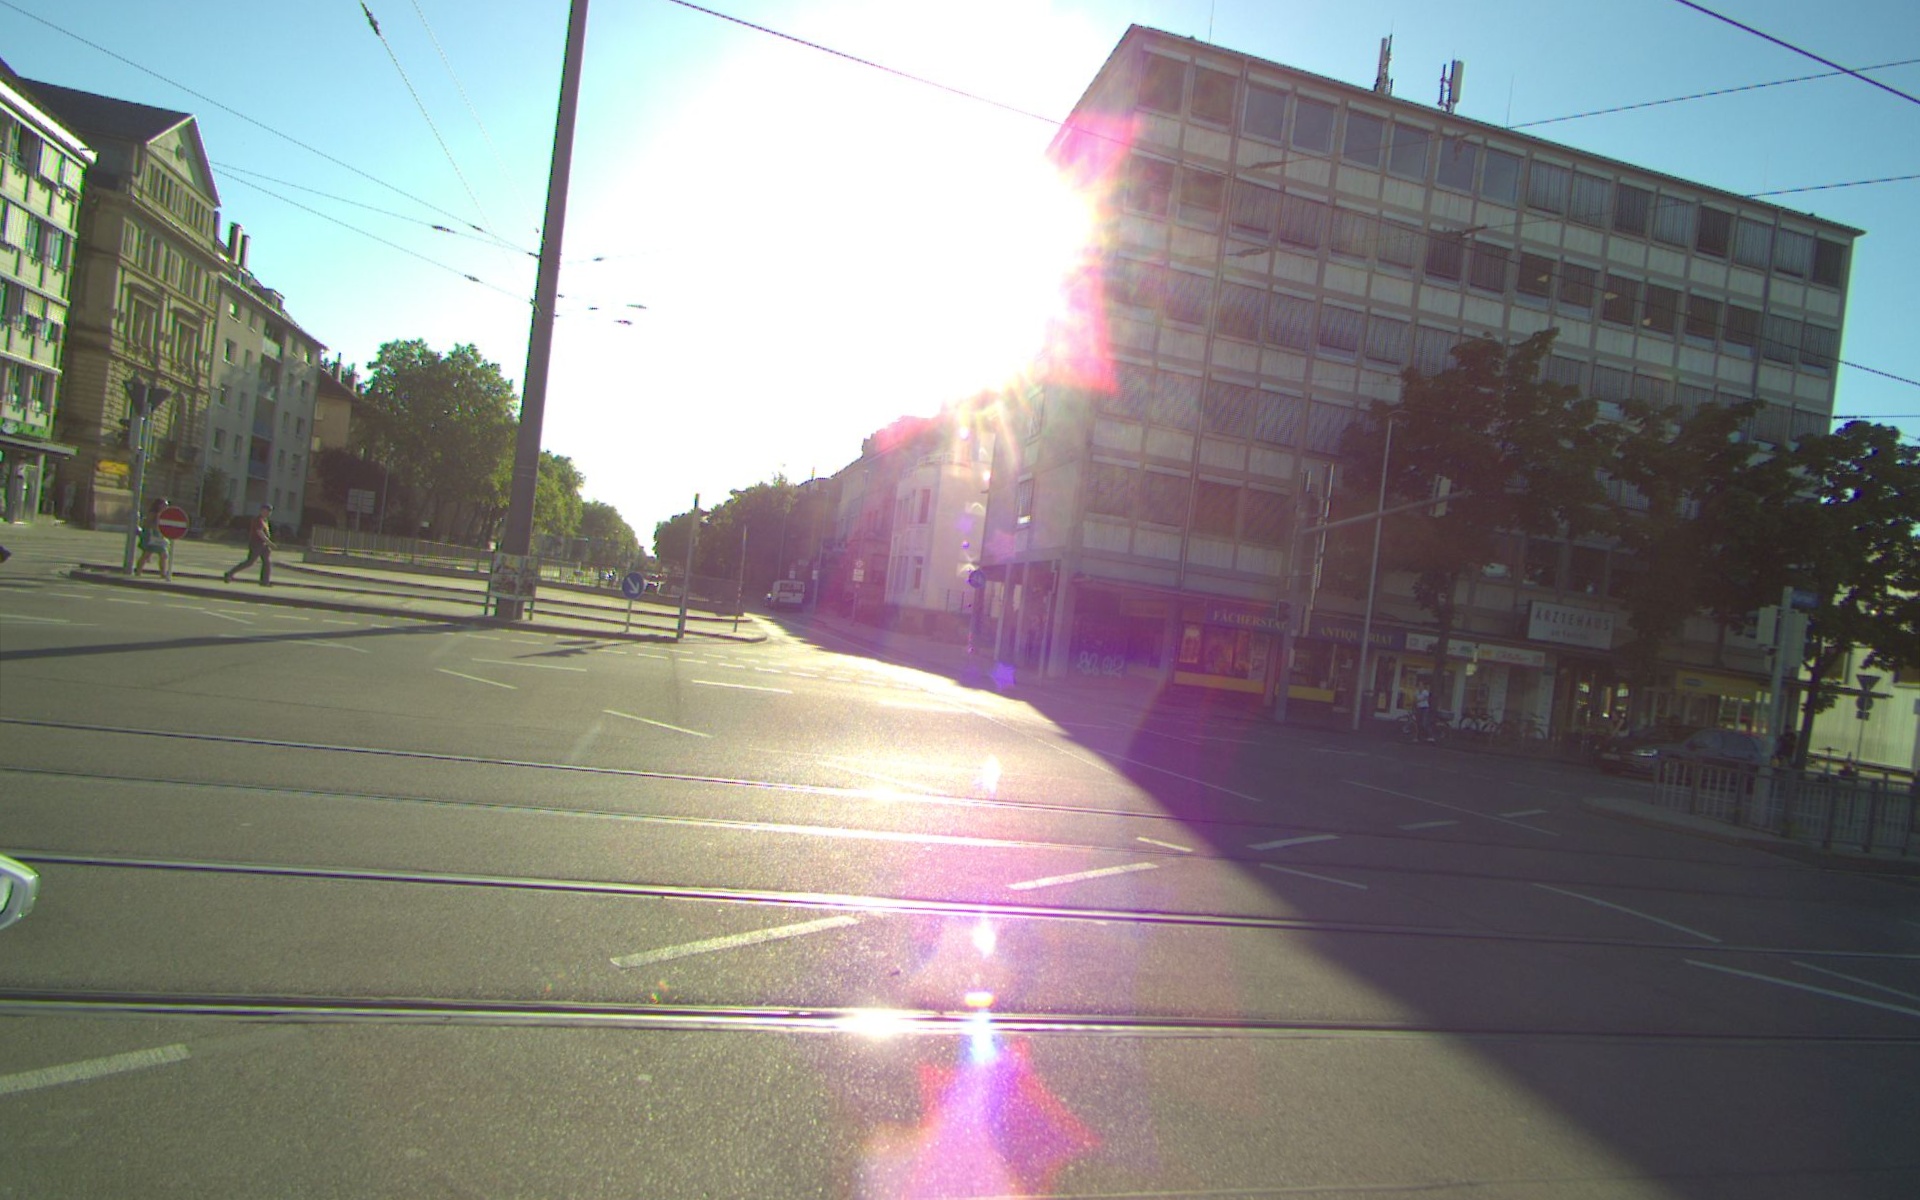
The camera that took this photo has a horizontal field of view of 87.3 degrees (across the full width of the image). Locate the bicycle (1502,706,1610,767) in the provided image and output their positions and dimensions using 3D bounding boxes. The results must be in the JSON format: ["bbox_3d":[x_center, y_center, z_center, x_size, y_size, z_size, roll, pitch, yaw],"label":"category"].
[{"bbox_3d":[17.210,3.930,29.153,0.742,1.157,2.623,9,2,-24],"label":"bicycle"}]

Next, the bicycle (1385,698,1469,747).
[{"bbox_3d":[12.171,3.187,26.222,2.003,0.951,0.668,9,-1,-19],"label":"bicycle"}]

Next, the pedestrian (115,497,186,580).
[{"bbox_3d":[-15.665,-1.176,19.499,0.698,1.470,0.852,9,0,-22],"label":"pedestrian"}]

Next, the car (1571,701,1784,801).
[{"bbox_3d":[17.098,3.584,24.040,4.018,1.637,1.839,9,-1,-14],"label":"car"}]

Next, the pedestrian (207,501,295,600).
[{"bbox_3d":[-15.270,-1.055,21.700,1.183,1.906,0.852,9,0,-23],"label":"pedestrian"}]

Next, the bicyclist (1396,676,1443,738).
[{"bbox_3d":[11.933,2.774,26.135,0.672,1.441,0.668,9,0,-19],"label":"bicyclist"}]

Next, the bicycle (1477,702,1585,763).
[{"bbox_3d":[16.269,3.772,28.776,0.742,1.157,2.623,9,2,-24],"label":"bicycle"}]

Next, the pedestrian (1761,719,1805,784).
[{"bbox_3d":[28.039,5.158,34.278,0.616,2.037,0.715,8,0,2],"label":"pedestrian"}]

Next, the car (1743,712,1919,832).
[{"bbox_3d":[16.603,3.186,18.060,3.939,1.637,1.839,9,-1,-14],"label":"car"}]

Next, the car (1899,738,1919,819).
[{"bbox_3d":[22.001,4.032,20.770,3.939,1.637,1.839,9,-1,-14],"label":"car"}]

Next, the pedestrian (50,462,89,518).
[{"bbox_3d":[-41.793,-5.129,47.227,0.919,2.426,0.953,8,0,-29],"label":"pedestrian"}]

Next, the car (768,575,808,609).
[{"bbox_3d":[-13.059,-0.627,76.133,2.260,2.197,4.817,9,-1,-16],"label":"car"}]

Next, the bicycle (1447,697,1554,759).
[{"bbox_3d":[15.176,3.580,28.357,0.742,1.157,2.623,9,2,-24],"label":"bicycle"}]

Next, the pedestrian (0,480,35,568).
[{"bbox_3d":[-20.049,-1.633,20.629,1.183,1.751,0.852,9,0,-23],"label":"pedestrian"}]
